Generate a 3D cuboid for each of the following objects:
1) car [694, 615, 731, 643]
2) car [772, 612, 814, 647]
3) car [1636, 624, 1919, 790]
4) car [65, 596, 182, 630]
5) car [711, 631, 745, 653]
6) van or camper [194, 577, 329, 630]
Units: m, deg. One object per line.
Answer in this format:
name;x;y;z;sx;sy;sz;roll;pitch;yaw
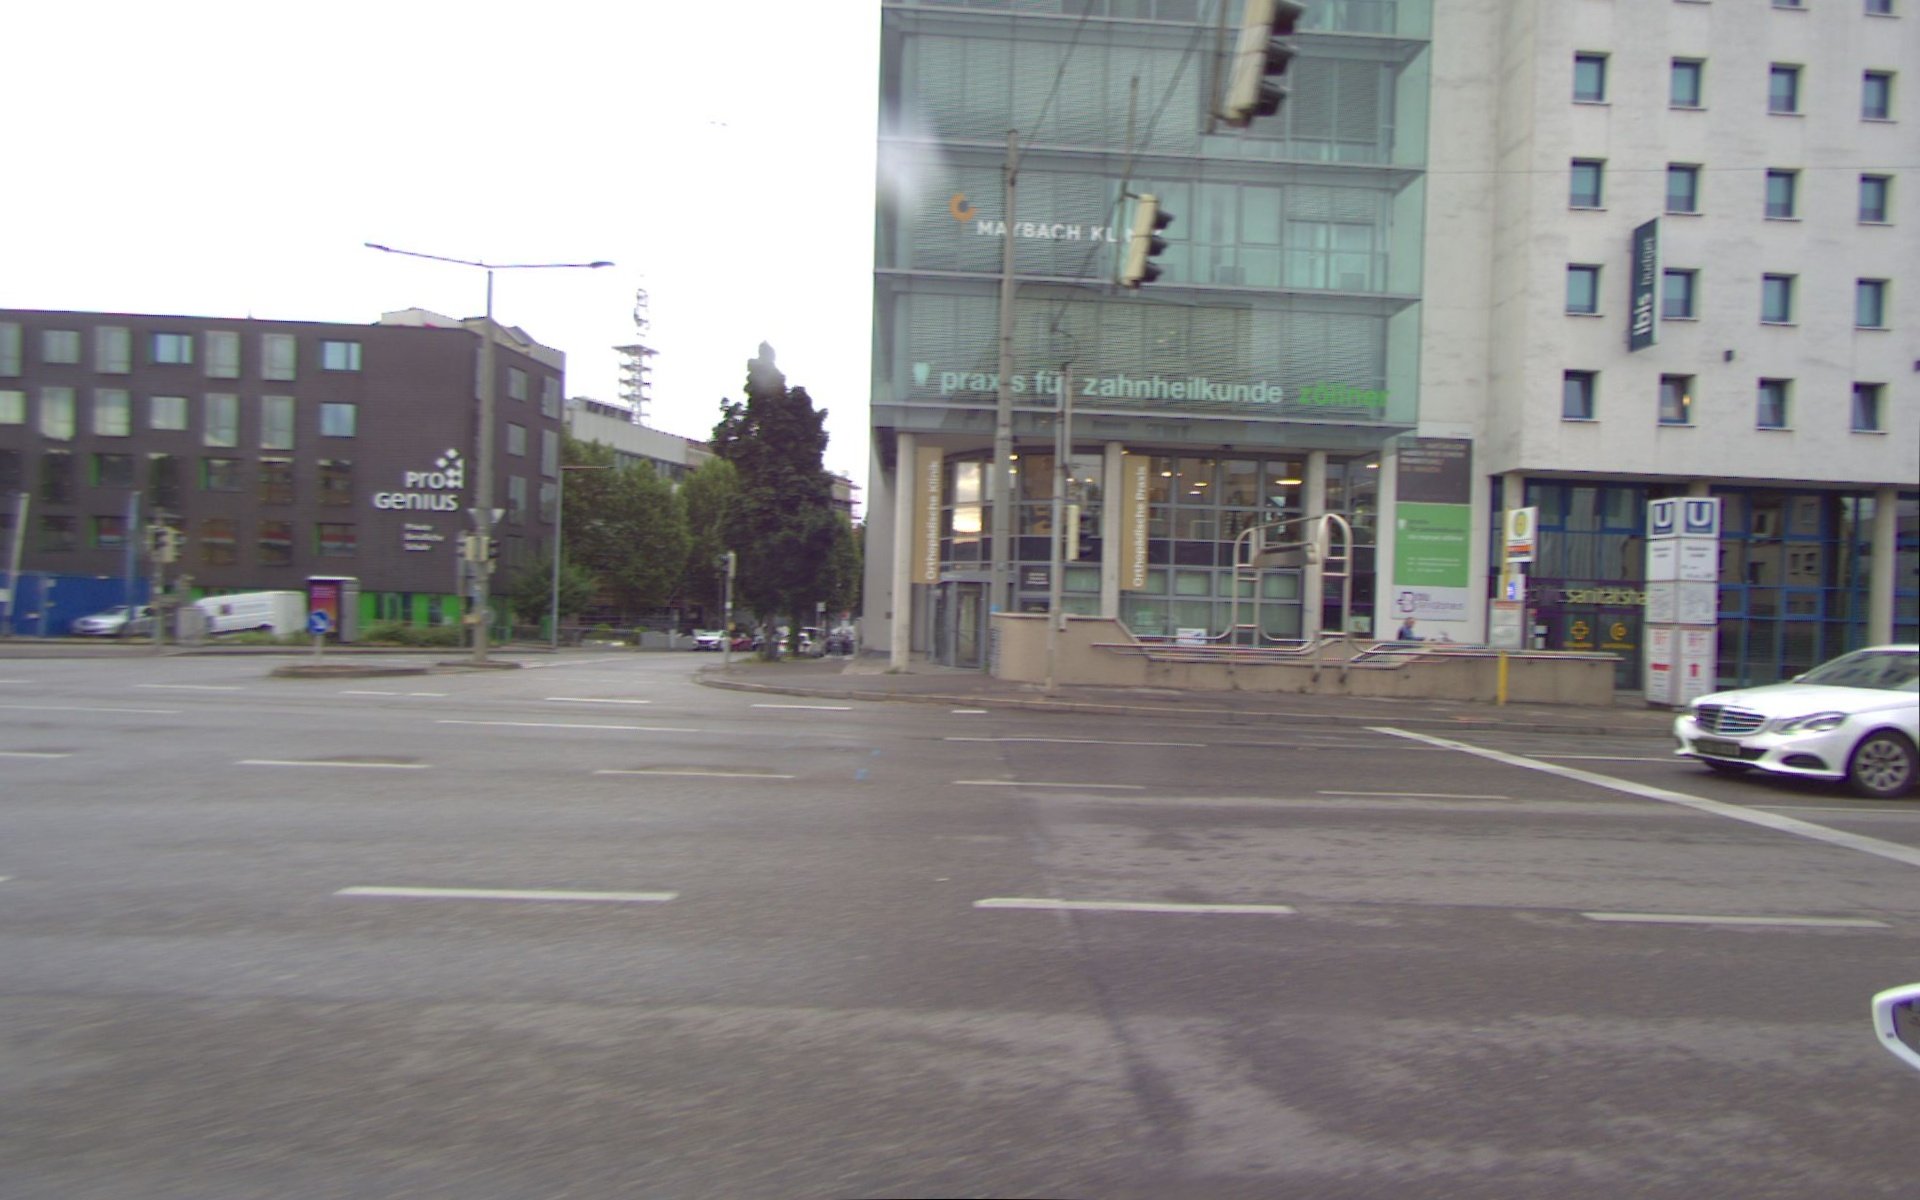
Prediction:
car;-19.567;2.308;79.440;1.962;2.039;3.999;4;-2;-3
car;-9.133;1.600;54.832;1.966;1.739;3.991;5;-2;-12
car;9.735;1.056;9.992;4.868;1.405;1.822;2;0;-4
car;-37.533;0.623;45.210;1.766;1.305;4.002;4;-2;1
car;-19.397;3.513;84.108;1.651;1.614;3.859;4;-2;4
van or camper;-38.155;0.218;55.020;5.245;2.399;2.738;4;-2;-3
